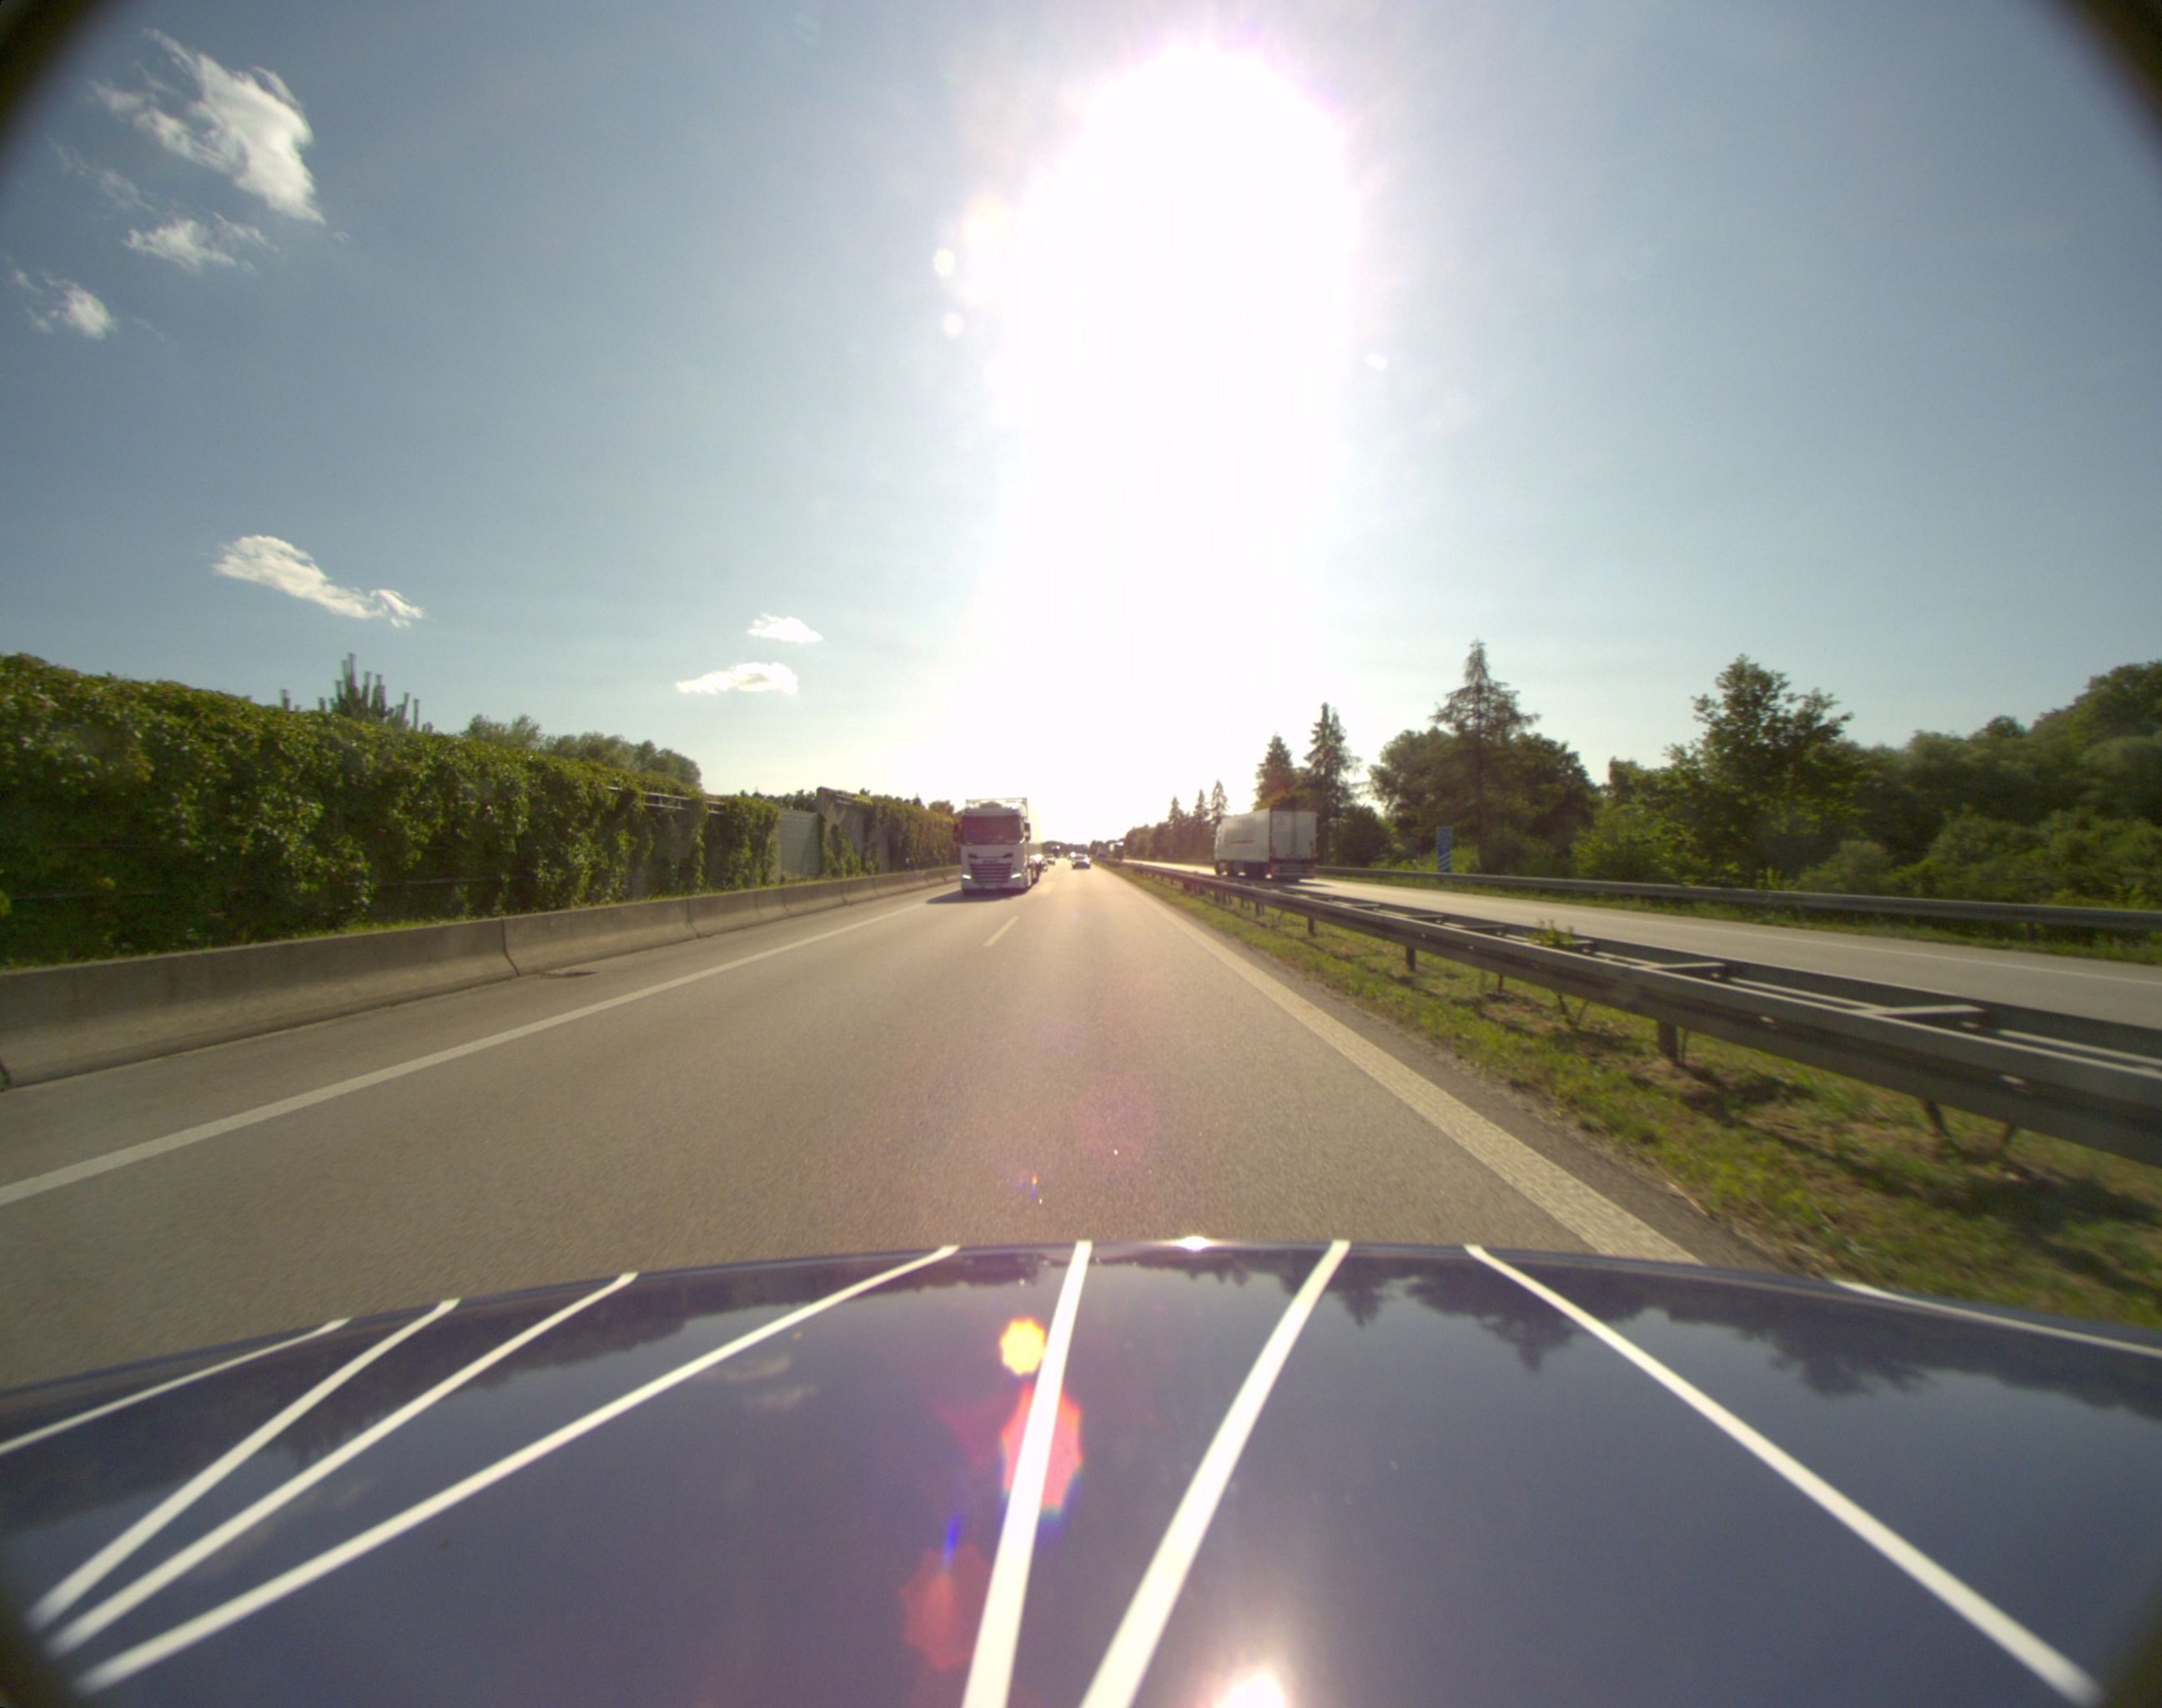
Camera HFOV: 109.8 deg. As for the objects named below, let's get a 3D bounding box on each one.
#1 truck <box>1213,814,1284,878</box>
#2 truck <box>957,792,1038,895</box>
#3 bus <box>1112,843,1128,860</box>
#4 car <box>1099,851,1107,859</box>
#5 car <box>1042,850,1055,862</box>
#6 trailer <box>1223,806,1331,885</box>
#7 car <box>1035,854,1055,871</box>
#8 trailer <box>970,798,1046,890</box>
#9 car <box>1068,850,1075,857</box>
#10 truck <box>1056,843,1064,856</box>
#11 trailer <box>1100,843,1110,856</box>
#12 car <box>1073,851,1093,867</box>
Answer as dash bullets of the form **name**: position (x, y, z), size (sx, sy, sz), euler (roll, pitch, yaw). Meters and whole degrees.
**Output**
- **truck**: position (11.537, -0.547, 53.136), size (3.164, 4.078, 7.734), euler (1, 1, 0)
- **truck**: position (-3.393, -0.409, 32.594), size (2.848, 3.943, 7.042), euler (0, 0, -1)
- **bus**: position (9.493, -0.615, 188.413), size (2.944, 4.030, 14.665), euler (1, 0, -1)
- **car**: position (5.442, 0.280, 190.398), size (1.759, 1.838, 5.010), euler (1, 0, 0)
- **car**: position (-4.415, 0.260, 103.459), size (1.689, 1.487, 4.986), euler (4, -1, -2)
- **trailer**: position (11.542, -0.489, 46.572), size (3.159, 4.101, 13.440), euler (1, 1, 0)
- **car**: position (-3.293, 0.801, 70.014), size (1.670, 1.446, 4.543), euler (-1, 0, -1)
- **trailer**: position (-3.492, -0.458, 40.046), size (2.826, 3.943, 14.157), euler (0, 0, -1)
- **car**: position (-2.275, -0.094, 184.098), size (1.742, 1.514, 3.999), euler (-1, 1, -1)
- **truck**: position (-6.979, -1.570, 249.132), size (2.537, 4.227, 11.264), euler (0, 0, -1)
- **trailer**: position (8.058, -1.525, 255.073), size (2.668, 3.985, 14.084), euler (0, 0, -2)
- **car**: position (0.210, 0.505, 75.935), size (1.871, 1.514, 4.283), euler (1, 0, -1)
